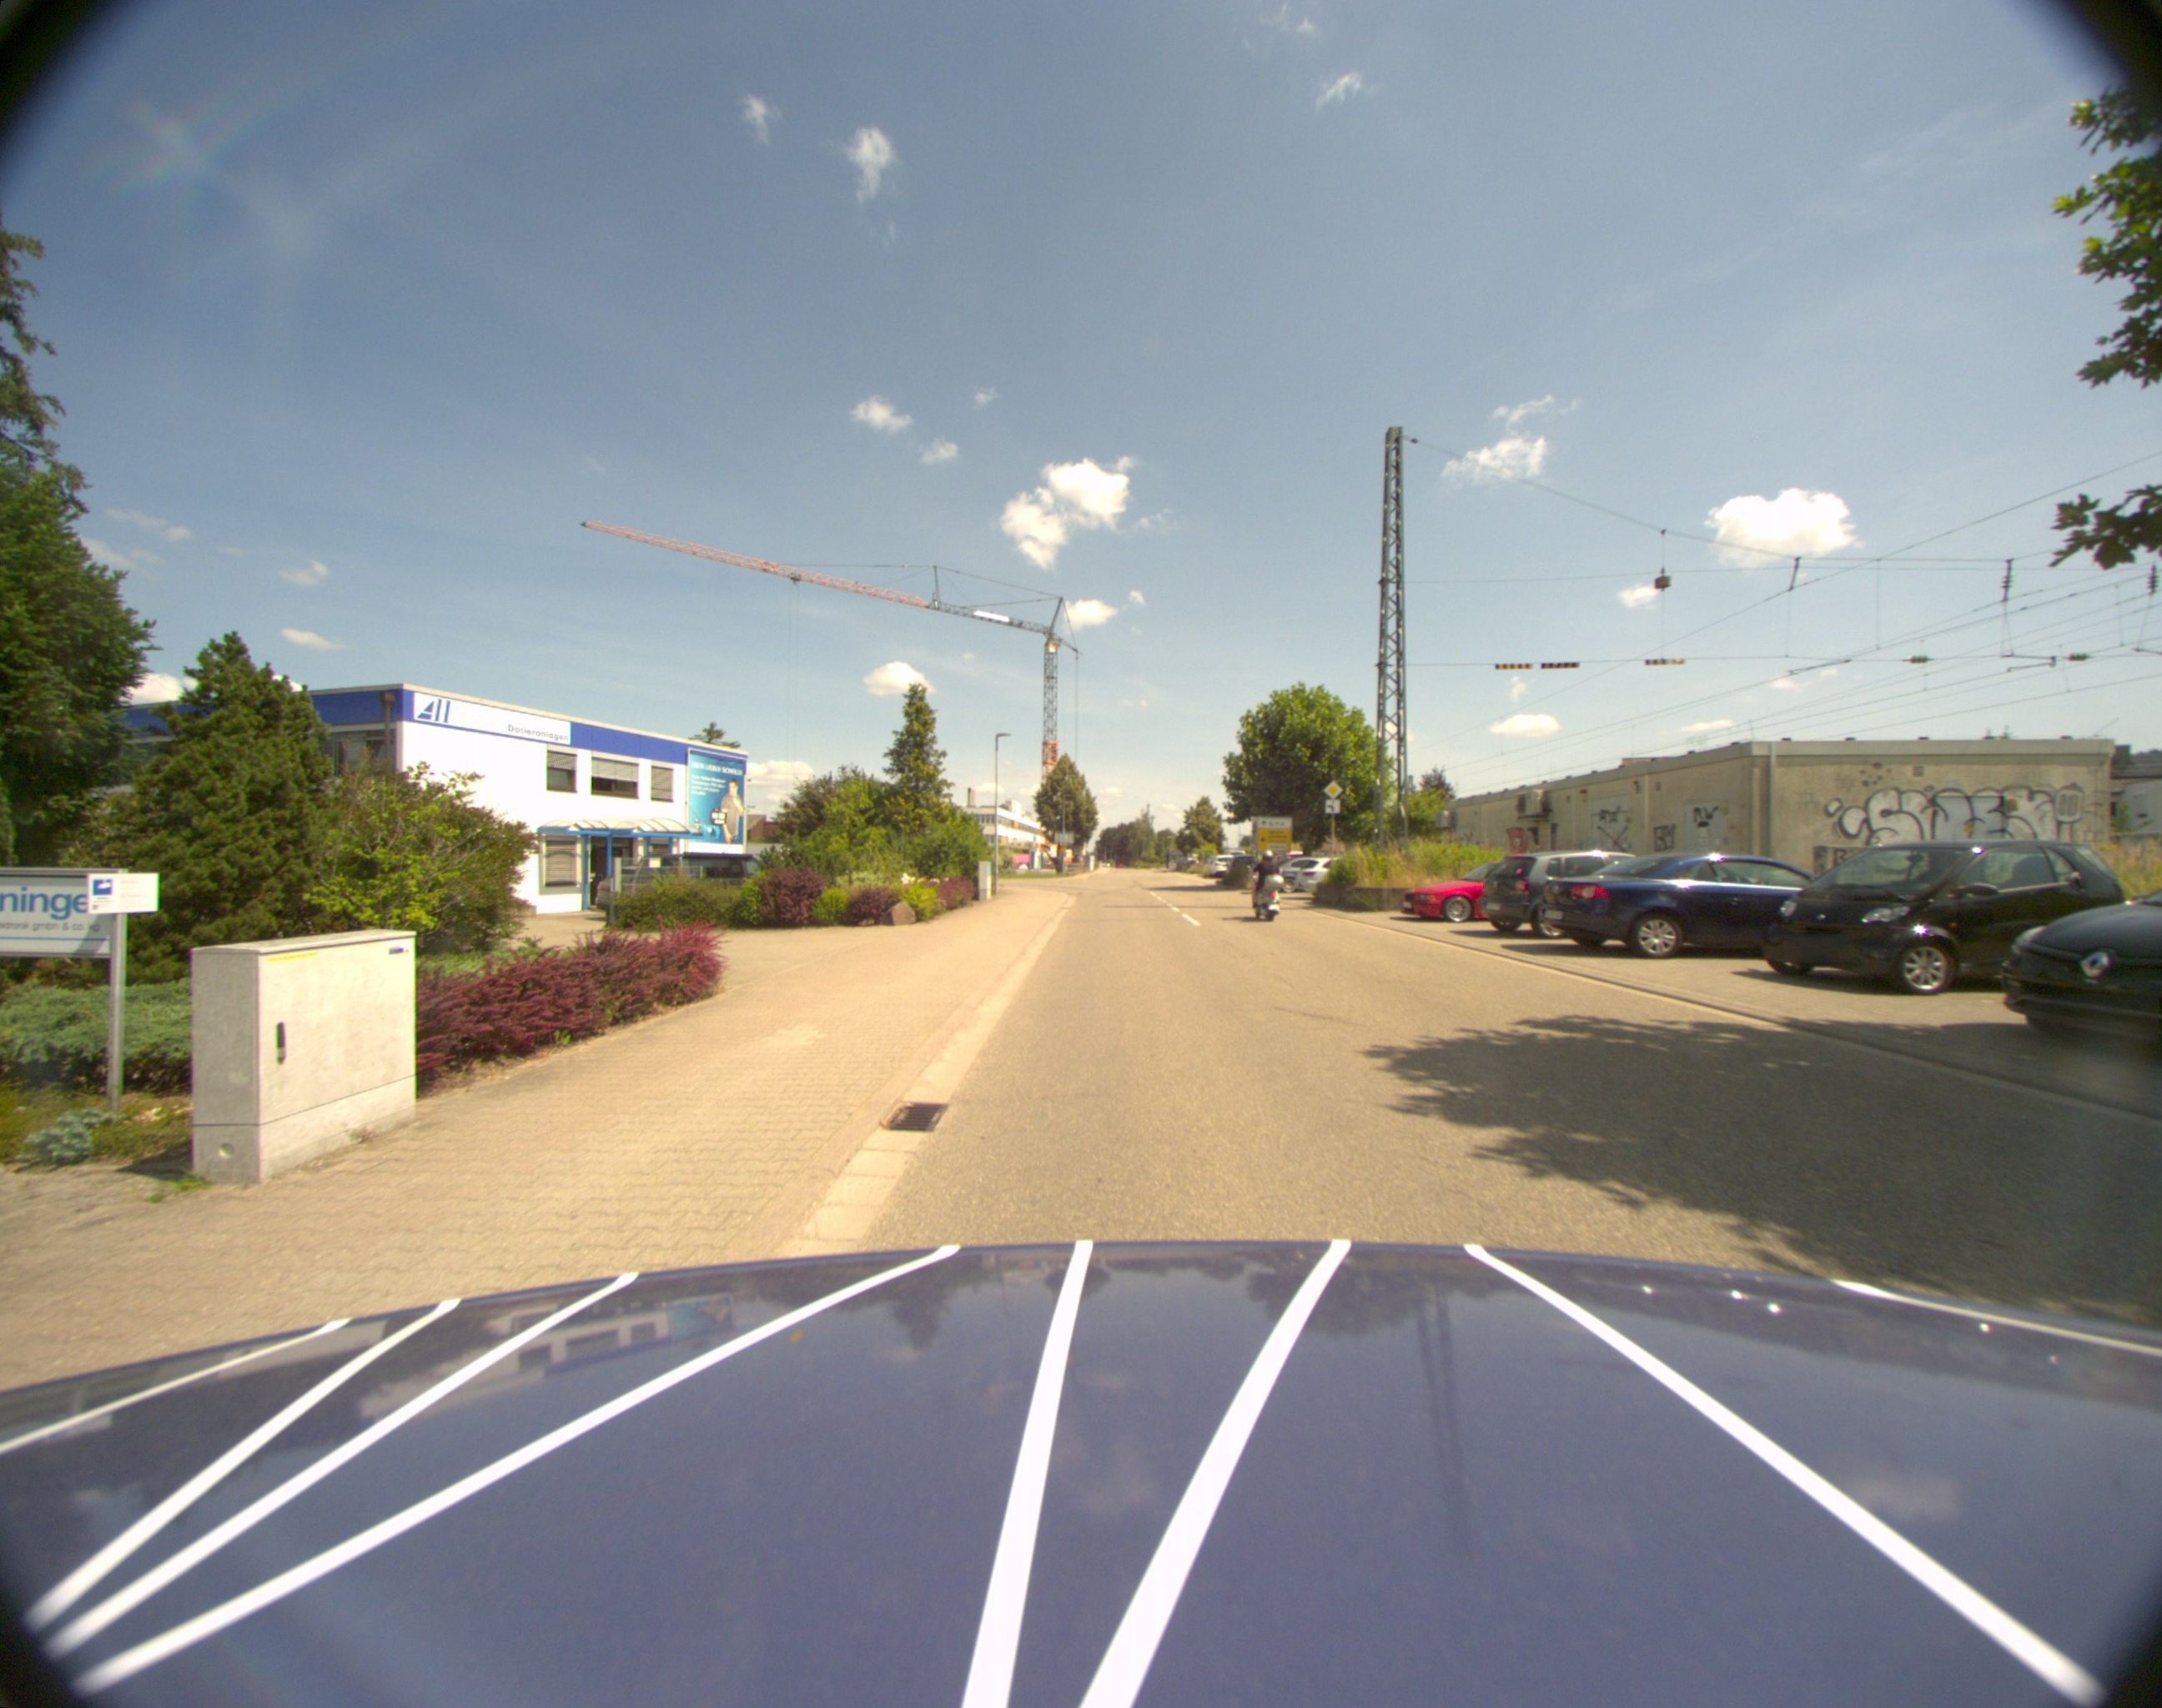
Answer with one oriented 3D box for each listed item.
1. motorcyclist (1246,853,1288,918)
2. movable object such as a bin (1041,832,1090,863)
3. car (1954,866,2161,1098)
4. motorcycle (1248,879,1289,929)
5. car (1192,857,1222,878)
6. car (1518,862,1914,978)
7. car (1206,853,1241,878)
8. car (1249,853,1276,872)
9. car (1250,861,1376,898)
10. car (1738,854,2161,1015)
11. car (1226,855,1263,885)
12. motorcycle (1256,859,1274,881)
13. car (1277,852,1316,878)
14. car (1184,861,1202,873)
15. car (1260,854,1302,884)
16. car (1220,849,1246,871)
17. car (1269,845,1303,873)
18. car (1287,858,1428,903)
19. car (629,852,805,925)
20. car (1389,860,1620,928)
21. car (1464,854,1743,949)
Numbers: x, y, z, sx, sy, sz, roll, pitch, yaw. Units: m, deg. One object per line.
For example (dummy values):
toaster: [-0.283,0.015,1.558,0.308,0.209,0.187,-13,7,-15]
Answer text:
motorcyclist: [4.394,0.728,18.013,0.777,1.500,0.921,-1,0,0]
movable object such as a bin: [-1.762,-0.718,85.845,5.132,3.276,2.391,0,5,-15]
car: [8.968,0.840,5.076,4.082,1.464,1.787,0,0,2]
motorcycle: [4.394,1.141,17.951,0.464,1.044,1.955,-1,0,0]
car: [9.519,0.973,57.505,1.794,1.535,3.961,0,0,3]
car: [8.665,0.843,10.709,3.953,1.442,1.788,0,0,6]
car: [9.428,0.724,50.519,1.807,1.555,4.264,0,0,5]
car: [16.181,0.721,67.981,1.952,1.599,4.275,0,0,8]
car: [9.160,0.987,30.236,4.437,1.402,1.787,0,0,-1]
car: [9.286,0.772,8.077,3.196,1.529,1.602,0,1,0]
car: [8.676,0.807,40.485,1.688,1.521,4.065,1,0,9]
motorcycle: [12.061,1.047,49.887,0.739,1.365,3.215,1,0,7]
car: [14.298,0.724,50.572,1.997,1.648,4.265,0,0,8]
car: [12.405,1.425,84.130,1.607,1.341,4.001,0,0,4]
car: [10.576,0.773,40.409,1.794,1.528,3.581,1,0,9]
car: [13.216,0.529,66.188,1.952,1.822,3.838,1,0,8]
car: [15.421,0.373,57.351,1.849,2.002,4.002,1,0,6]
car: [9.242,0.857,25.629,4.083,1.393,1.787,-1,0,0]
car: [-10.705,0.909,22.806,1.899,1.787,4.798,2,2,20]
car: [9.111,0.863,16.611,4.082,1.360,1.674,-1,-1,2]
car: [8.929,0.781,13.210,3.675,1.439,1.684,-2,0,0]
